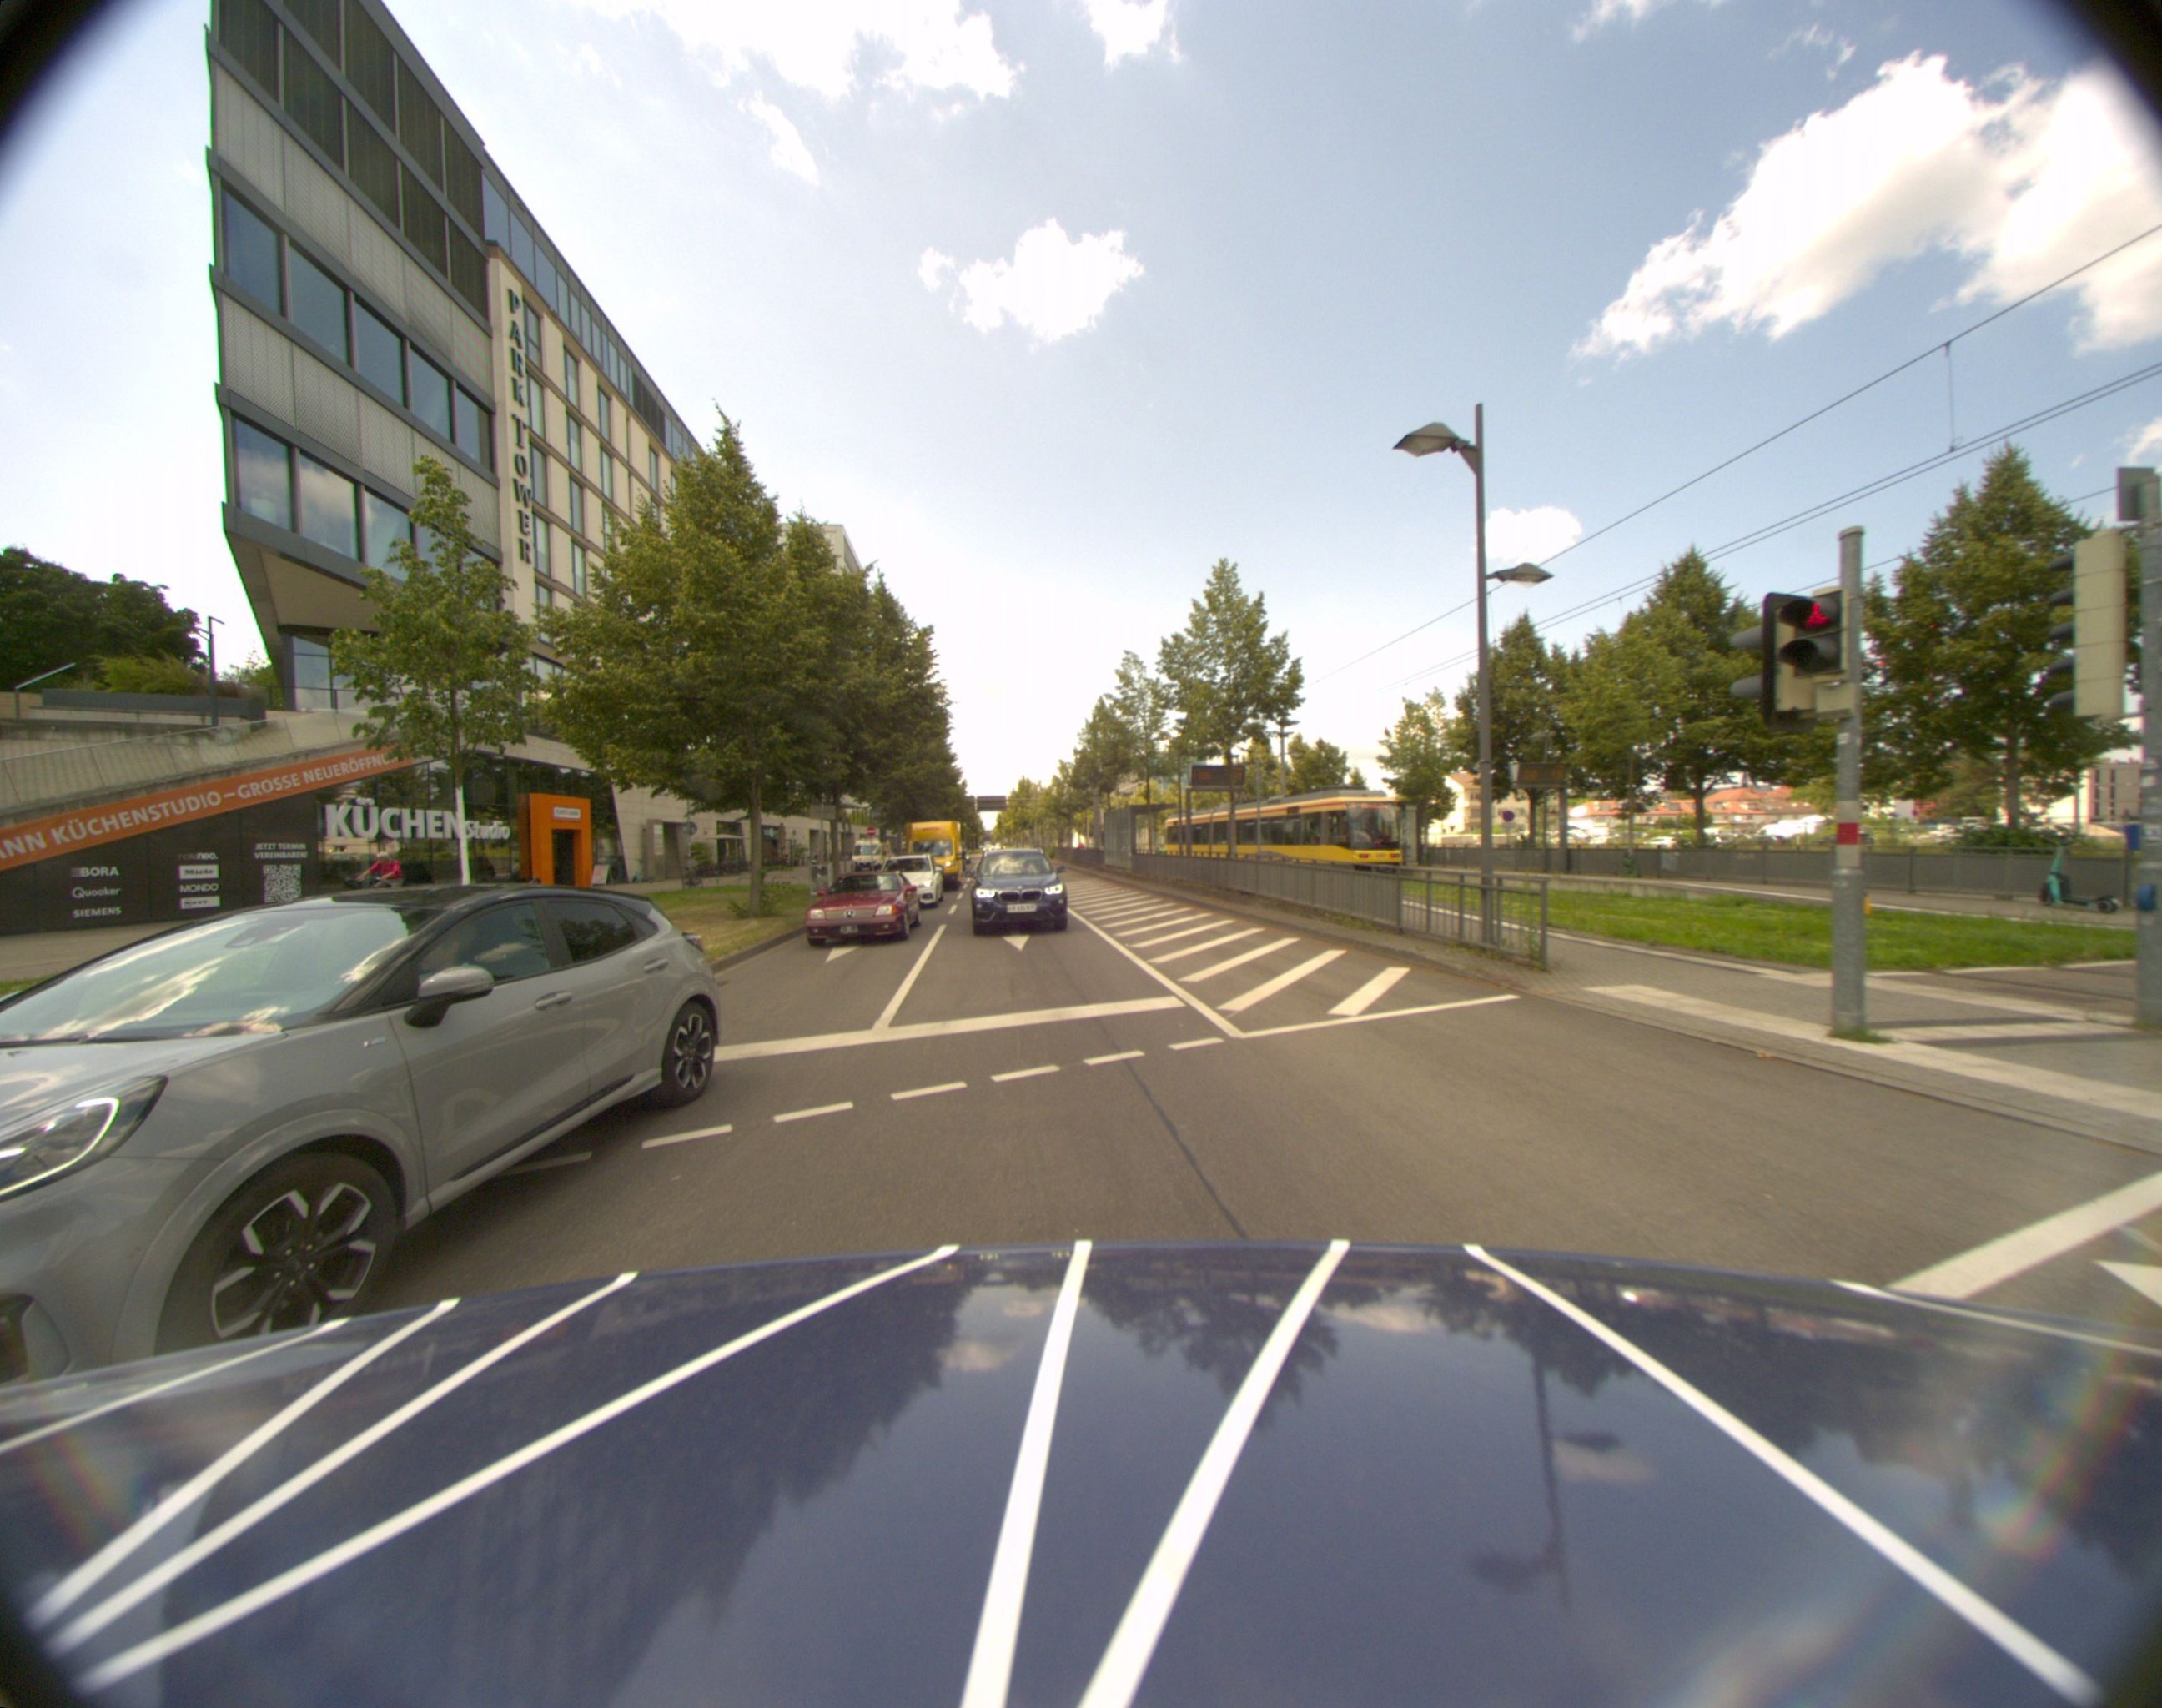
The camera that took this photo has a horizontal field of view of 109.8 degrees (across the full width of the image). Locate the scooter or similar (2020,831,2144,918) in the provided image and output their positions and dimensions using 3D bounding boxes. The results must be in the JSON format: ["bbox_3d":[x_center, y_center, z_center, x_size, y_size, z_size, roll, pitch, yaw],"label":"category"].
[{"bbox_3d":[16.074,0.301,12.250,0.418,1.295,1.346,-1,3,14],"label":"scooter or similar"}]

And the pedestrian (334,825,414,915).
[{"bbox_3d":[-16.377,0.360,17.642,0.755,2.002,1.231,-2,0,-8],"label":"pedestrian"}]

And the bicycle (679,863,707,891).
[{"bbox_3d":[-15.948,0.911,31.229,0.516,1.082,1.747,-1,1,-10],"label":"bicycle"}]

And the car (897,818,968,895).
[{"bbox_3d":[-6.229,0.046,32.748,2.285,2.837,7.249,-3,1,-7],"label":"car"}]

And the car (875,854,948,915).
[{"bbox_3d":[-5.070,0.845,23.230,1.675,1.589,4.125,-3,1,-7],"label":"car"}]

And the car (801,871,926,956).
[{"bbox_3d":[-4.190,1.071,15.240,1.675,1.254,4.089,-4,1,-7],"label":"car"}]

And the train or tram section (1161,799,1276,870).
[{"bbox_3d":[7.946,-1.078,46.854,2.695,3.617,14.653,-2,1,-7],"label":"train or tram section"}]

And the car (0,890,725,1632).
[{"bbox_3d":[-3.367,1.052,3.366,1.674,1.462,4.091,-3,1,-2],"label":"car"}]

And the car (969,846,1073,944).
[{"bbox_3d":[-1.300,0.716,15.678,1.775,1.590,4.124,-4,2,-7],"label":"car"}]

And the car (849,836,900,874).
[{"bbox_3d":[-14.328,0.004,53.187,2.162,2.380,6.274,-3,1,-4],"label":"car"}]

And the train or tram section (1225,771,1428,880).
[{"bbox_3d":[9.746,-1.038,32.848,2.851,3.718,13.466,-2,1,-7],"label":"train or tram section"}]

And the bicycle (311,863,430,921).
[{"bbox_3d":[-16.378,0.864,17.624,0.812,1.236,2.410,-1,-2,-10],"label":"bicycle"}]
